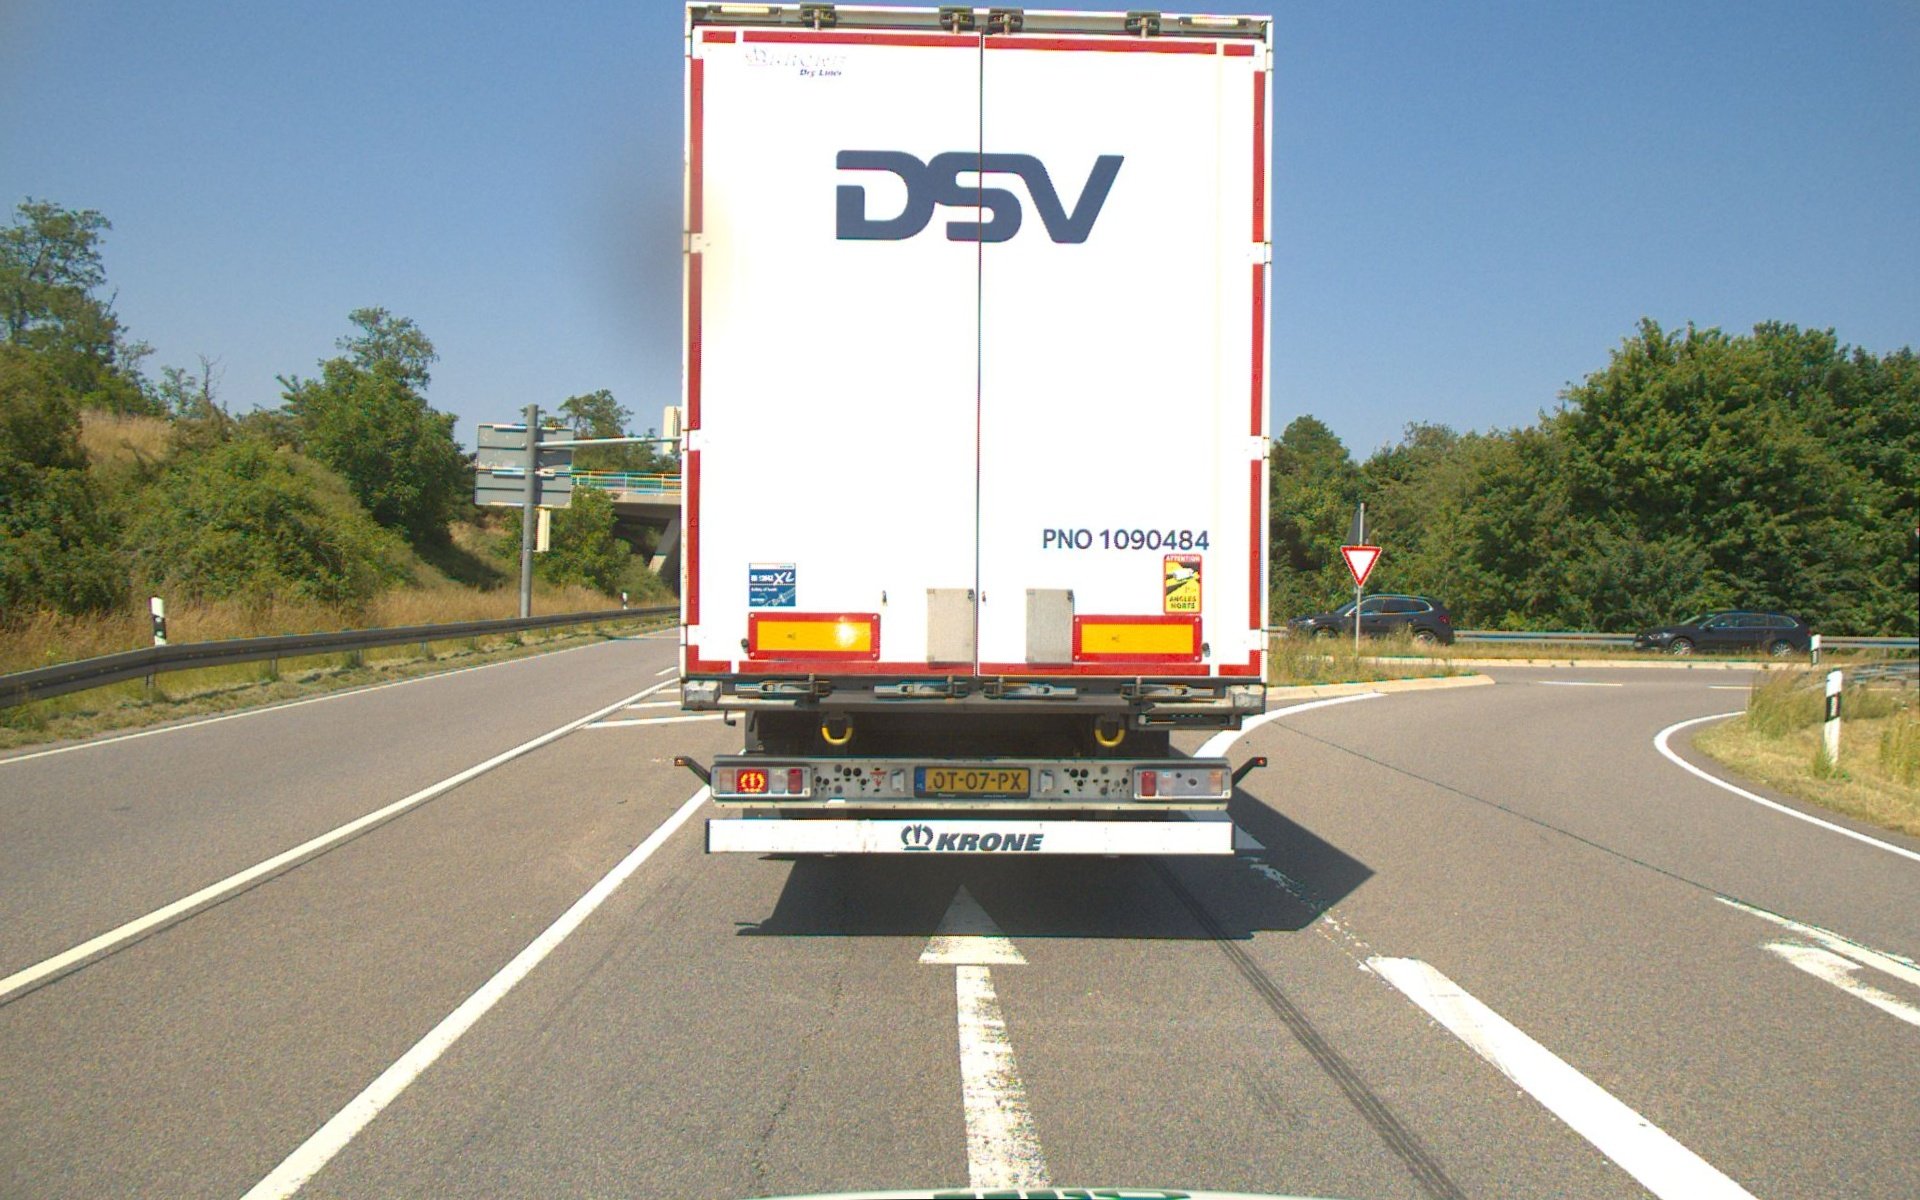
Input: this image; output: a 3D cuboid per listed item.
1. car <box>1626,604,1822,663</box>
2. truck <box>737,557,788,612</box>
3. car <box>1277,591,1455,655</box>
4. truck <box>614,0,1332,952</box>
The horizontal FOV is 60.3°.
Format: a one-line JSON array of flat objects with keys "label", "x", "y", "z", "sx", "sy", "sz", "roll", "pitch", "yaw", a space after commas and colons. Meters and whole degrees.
[{"label": "car", "x": 21.061, "y": 0.915, "z": 45.747, "sx": 4.583, "sy": 1.540, "sz": 1.854, "roll": 1, "pitch": -1, "yaw": 6}, {"label": "truck", "x": -13.403, "y": -0.987, "z": 112.848, "sx": 2.591, "sy": 3.600, "sz": 7.888, "roll": 1, "pitch": 0, "yaw": -1}, {"label": "car", "x": 10.913, "y": 0.608, "z": 44.674, "sx": 4.393, "sy": 1.626, "sz": 1.768, "roll": 1, "pitch": -1, "yaw": 2}, {"label": "truck", "x": -0.050, "y": -0.557, "z": 11.772, "sx": 2.927, "sy": 4.011, "sz": 9.872, "roll": 1, "pitch": 0, "yaw": -1}]
